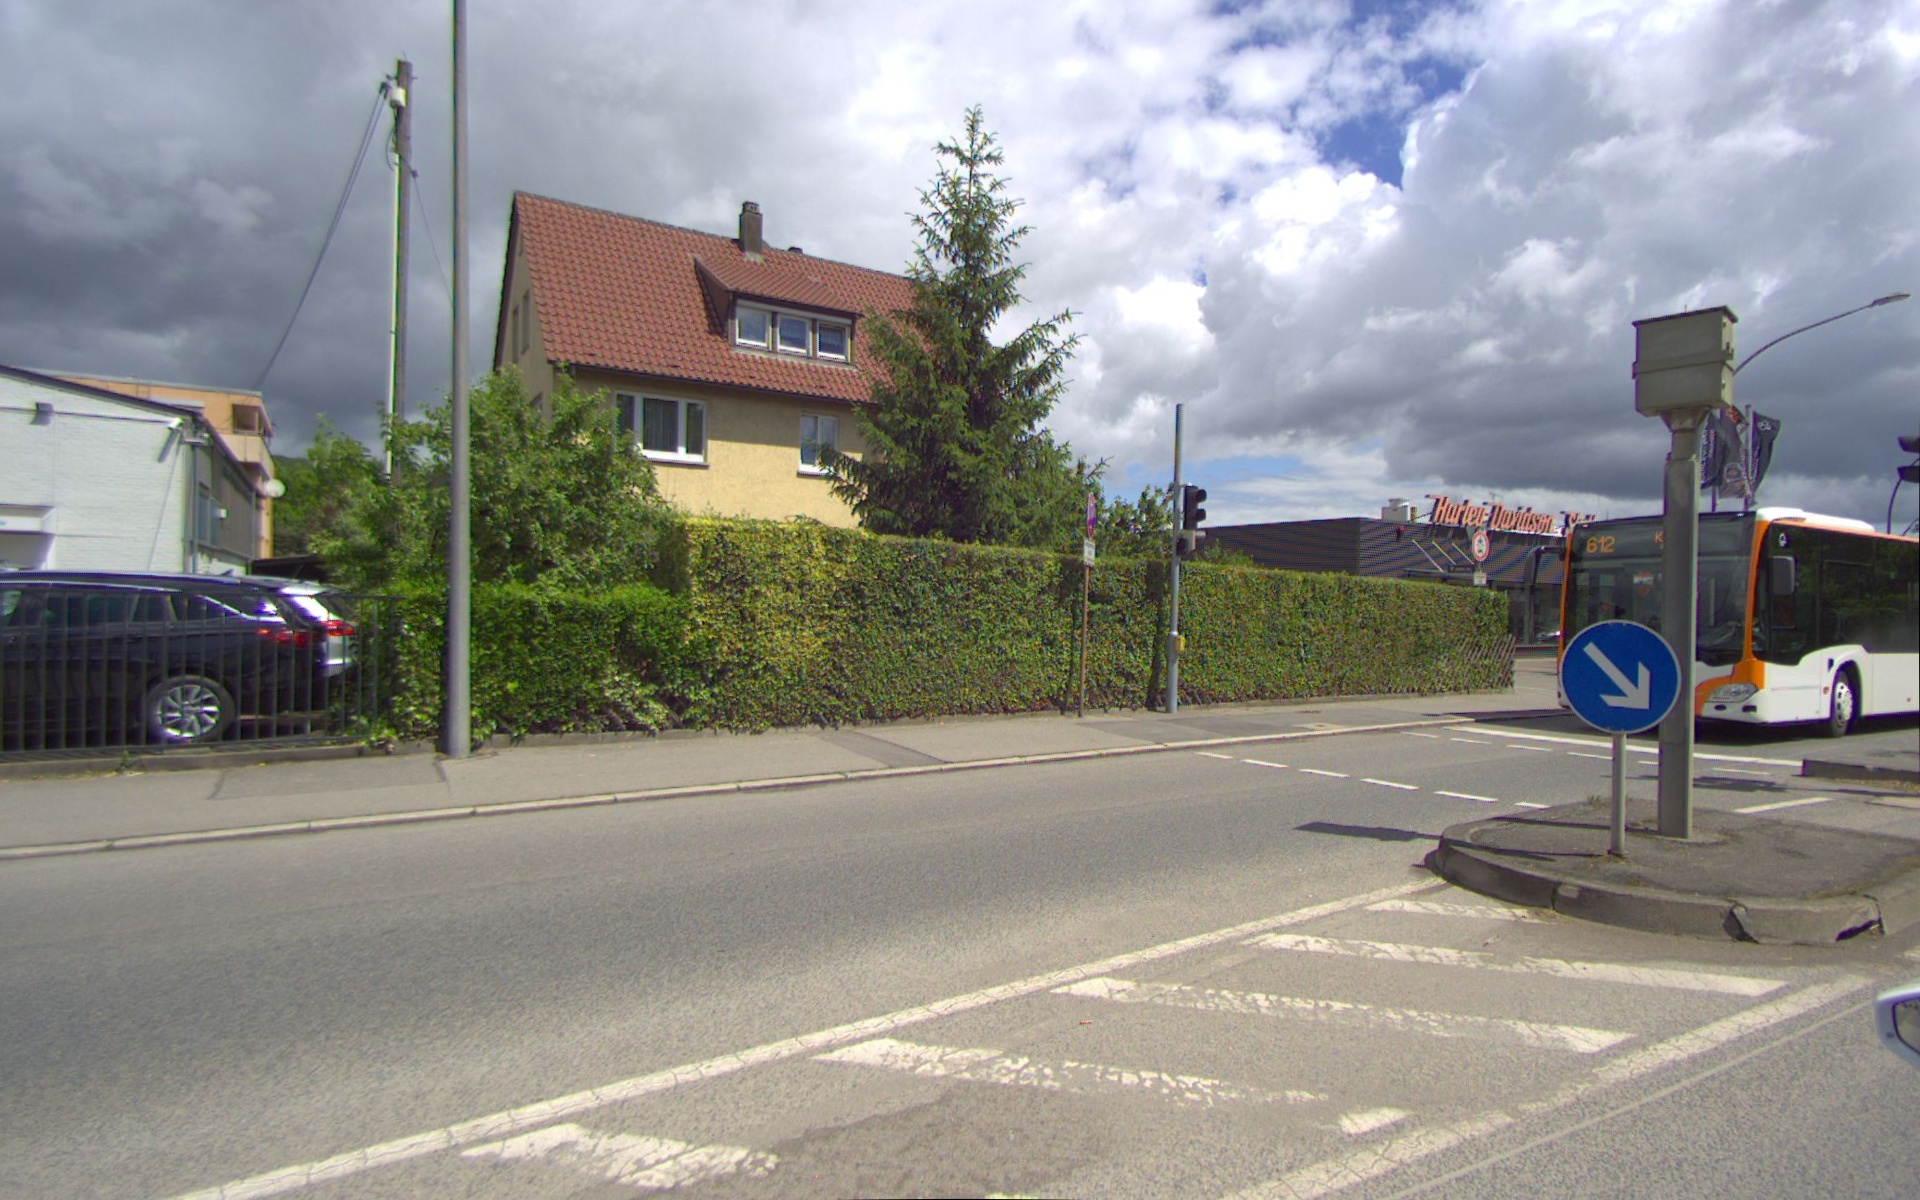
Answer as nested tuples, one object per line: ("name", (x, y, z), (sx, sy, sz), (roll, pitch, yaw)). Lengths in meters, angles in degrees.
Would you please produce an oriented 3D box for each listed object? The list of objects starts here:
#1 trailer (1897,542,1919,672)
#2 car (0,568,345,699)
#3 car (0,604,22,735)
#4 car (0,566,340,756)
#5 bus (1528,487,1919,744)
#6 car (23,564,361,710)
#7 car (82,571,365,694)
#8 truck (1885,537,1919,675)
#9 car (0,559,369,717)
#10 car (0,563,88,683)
("trailer", (36.759, 0.447, 36.000), (15.429, 4.107, 2.775), (2, 0, -40))
("car", (-10.721, 0.436, 13.628), (3.953, 1.569, 1.984), (2, 0, -30))
("car", (-16.707, 1.042, 14.696), (3.953, 2.040, 1.984), (2, 0, -30))
("car", (-7.853, 0.480, 8.853), (3.997, 1.502, 1.850), (2, 0, -31))
("bus", (14.016, 0.365, 16.261), (12.123, 3.071, 2.706), (2, -1, -31))
("car", (-11.824, 0.562, 15.881), (3.953, 2.040, 1.984), (2, 0, -30))
("car", (-13.320, 0.588, 18.525), (3.953, 2.040, 1.984), (2, 0, -30))
("truck", (31.458, 0.265, 31.484), (6.448, 4.107, 2.775), (2, 0, -40))
("car", (-9.013, 0.397, 11.356), (3.953, 1.561, 1.984), (2, 0, -30))
("car", (-17.984, 0.347, 17.421), (3.953, 2.040, 1.984), (2, 0, -30))
